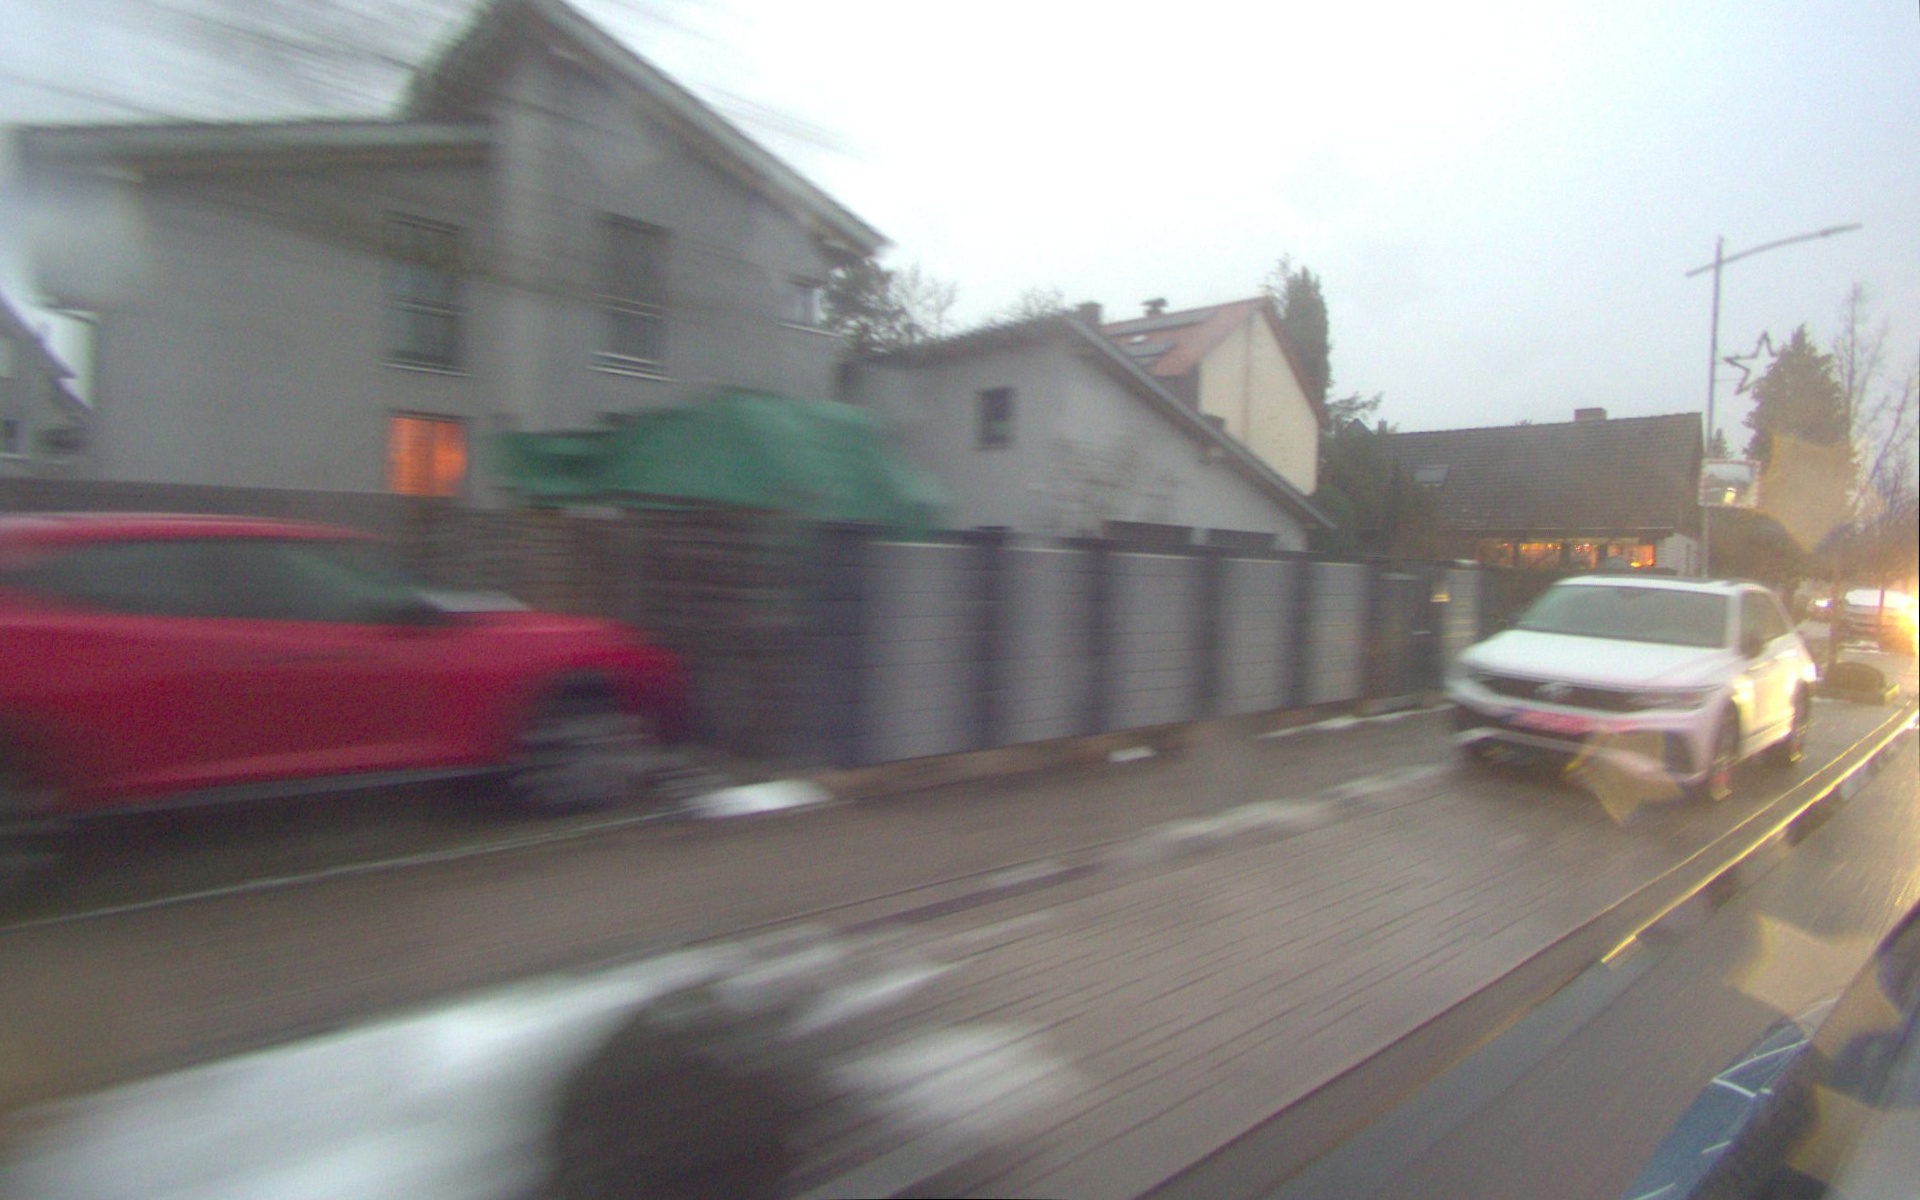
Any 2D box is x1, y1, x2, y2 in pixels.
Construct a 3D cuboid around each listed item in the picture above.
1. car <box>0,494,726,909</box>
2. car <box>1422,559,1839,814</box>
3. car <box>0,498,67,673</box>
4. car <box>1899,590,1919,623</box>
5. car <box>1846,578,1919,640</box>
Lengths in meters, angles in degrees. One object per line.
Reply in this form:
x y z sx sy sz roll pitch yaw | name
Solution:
-3.534 0.330 5.281 1.806 1.571 4.240 4 3 41 | car
5.801 0.532 8.549 4.229 1.583 1.811 0 3 -41 | car
-9.368 -0.119 8.323 1.667 1.611 3.783 2 2 -19 | car
51.638 0.394 53.905 4.488 1.660 1.905 1 3 -42 | car
30.398 0.282 33.174 1.911 1.812 4.497 4 3 42 | car
